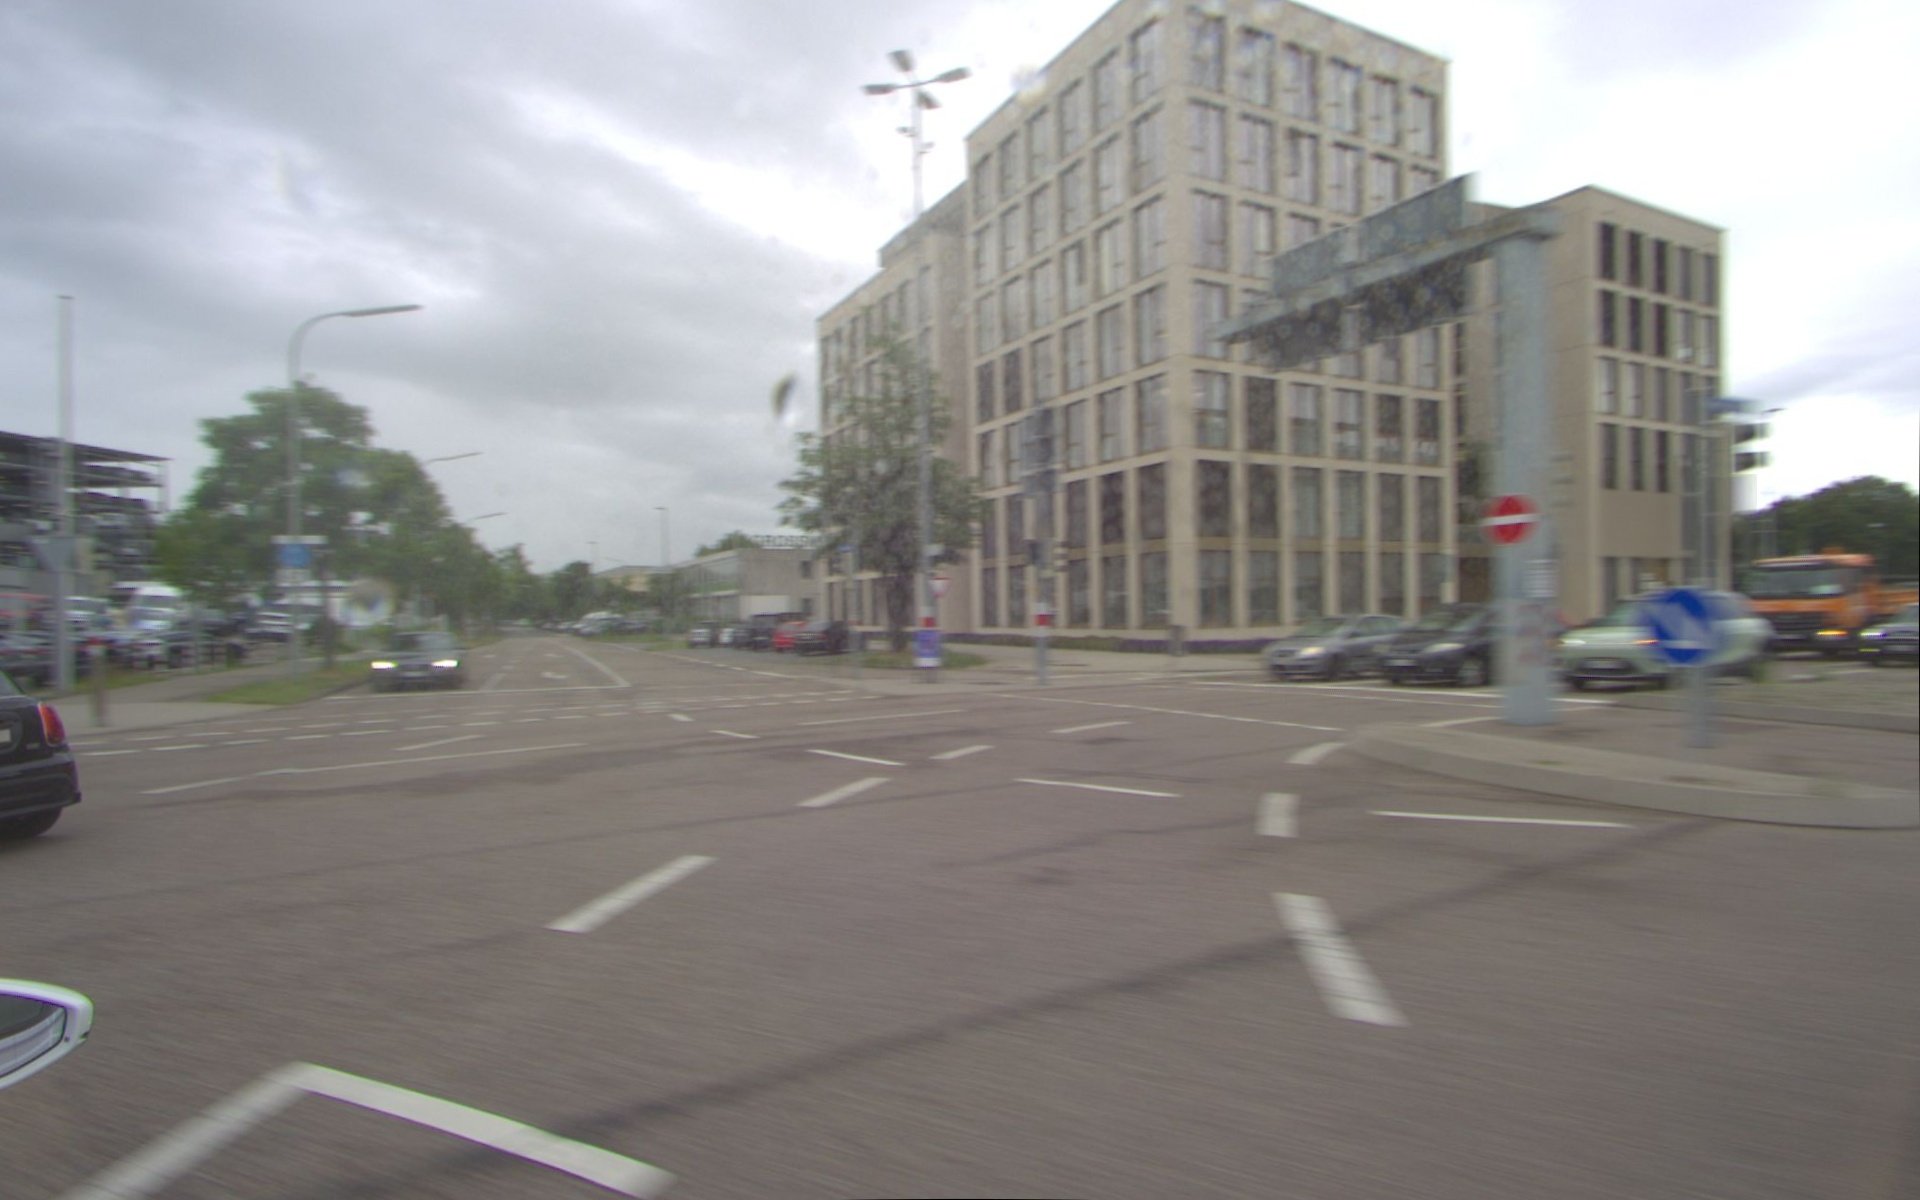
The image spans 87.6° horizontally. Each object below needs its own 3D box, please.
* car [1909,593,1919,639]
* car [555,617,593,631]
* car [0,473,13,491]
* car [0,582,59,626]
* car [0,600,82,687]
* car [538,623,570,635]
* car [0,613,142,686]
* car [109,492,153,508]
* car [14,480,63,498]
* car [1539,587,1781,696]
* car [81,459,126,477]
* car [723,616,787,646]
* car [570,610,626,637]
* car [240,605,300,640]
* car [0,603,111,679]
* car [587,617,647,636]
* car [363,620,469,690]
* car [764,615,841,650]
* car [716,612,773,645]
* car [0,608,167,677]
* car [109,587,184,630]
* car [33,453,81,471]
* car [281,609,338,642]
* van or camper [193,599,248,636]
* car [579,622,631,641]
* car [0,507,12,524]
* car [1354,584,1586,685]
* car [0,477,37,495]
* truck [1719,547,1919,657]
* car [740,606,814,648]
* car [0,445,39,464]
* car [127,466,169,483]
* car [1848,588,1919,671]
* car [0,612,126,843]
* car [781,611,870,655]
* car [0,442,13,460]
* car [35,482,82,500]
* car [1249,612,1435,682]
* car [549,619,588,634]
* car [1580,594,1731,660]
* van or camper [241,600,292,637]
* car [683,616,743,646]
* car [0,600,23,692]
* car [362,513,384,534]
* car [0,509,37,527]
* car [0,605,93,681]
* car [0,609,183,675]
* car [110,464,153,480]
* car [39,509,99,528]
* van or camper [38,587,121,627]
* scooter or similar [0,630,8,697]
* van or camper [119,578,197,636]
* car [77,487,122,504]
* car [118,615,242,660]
[{"bbox_3d":[37.699,0.597,36.933,4.283,1.678,1.998,1,-2,-16],"label":"car"},{"bbox_3d":[-54.339,3.396,140.994,4.729,1.915,2.135,1,-2,-27],"label":"car"},{"bbox_3d":[-103.847,-12.584,106.838,3.923,1.689,2.000,0,-1,7],"label":"car"},{"bbox_3d":[-42.789,0.213,45.353,1.971,1.872,3.983,1,-2,-28],"label":"car"},{"bbox_3d":[-24.704,1.154,24.044,4.964,2.040,2.256,-3,0,-29],"label":"car"},{"bbox_3d":[-71.530,5.178,176.387,5.110,2.039,2.136,1,-2,-26],"label":"car"},{"bbox_3d":[-28.640,1.557,30.934,4.836,2.040,1.991,-3,0,-30],"label":"car"},{"bbox_3d":[-102.246,-12.288,123.555,3.923,1.689,2.000,0,-1,7],"label":"car"},{"bbox_3d":[-103.332,-12.478,112.301,3.923,1.689,2.000,0,-1,7],"label":"car"},{"bbox_3d":[11.985,0.709,17.116,4.011,1.664,1.896,1,-2,-30],"label":"car"},{"bbox_3d":[-102.530,-15.796,119.900,3.923,1.689,2.000,0,-1,7],"label":"car"},{"bbox_3d":[-10.942,1.625,53.566,1.667,1.530,3.812,-1,-1,18],"label":"car"},{"bbox_3d":[-43.281,2.801,119.785,6.042,3.156,2.126,1,-2,-26],"label":"car"},{"bbox_3d":[-34.009,1.156,49.474,1.971,1.638,3.983,1,-2,-28],"label":"car"},{"bbox_3d":[-27.422,1.222,28.408,4.720,2.040,1.990,-3,0,-31],"label":"car"},{"bbox_3d":[-32.229,2.534,94.069,5.112,1.741,2.135,1,-2,-27],"label":"car"},{"bbox_3d":[-13.634,1.302,25.346,1.953,1.571,4.598,-1,-1,-24],"label":"car"},{"bbox_3d":[-7.488,1.534,47.914,1.856,1.571,4.125,-1,-1,20],"label":"car"},{"bbox_3d":[-12.448,1.675,58.037,1.564,1.821,3.425,-1,-2,24],"label":"car"},{"bbox_3d":[-29.772,1.421,33.399,4.836,2.040,1.991,-3,0,-30],"label":"car"},{"bbox_3d":[-38.333,0.448,47.287,1.971,1.846,3.983,1,-2,-28],"label":"car"},{"bbox_3d":[-103.520,-15.843,114.777,3.923,1.689,2.000,0,-1,7],"label":"car"},{"bbox_3d":[-33.055,1.333,50.990,1.969,1.638,3.985,1,-2,-26],"label":"car"},{"bbox_3d":[-42.517,1.072,57.669,1.971,2.039,3.983,1,-2,-28],"label":"van or camper"},{"bbox_3d":[-36.085,3.252,101.860,4.729,1.915,2.135,1,-2,-27],"label":"car"},{"bbox_3d":[-104.254,-9.061,107.139,3.923,1.689,2.000,0,-1,7],"label":"car"},{"bbox_3d":[10.078,0.698,19.748,4.357,1.791,1.991,1,-2,-29],"label":"car"},{"bbox_3d":[-103.717,-12.427,109.478,3.923,1.689,2.000,0,-1,7],"label":"car"},{"bbox_3d":[23.907,0.172,27.107,6.574,2.672,2.810,1,-2,-27],"label":"truck"},{"bbox_3d":[-9.187,1.348,50.644,1.964,1.990,4.240,-1,-2,17],"label":"car"},{"bbox_3d":[-103.648,-15.920,109.665,3.923,1.689,2.000,0,-1,7],"label":"car"},{"bbox_3d":[-102.155,-15.773,125.962,3.923,1.689,2.000,0,-1,7],"label":"car"},{"bbox_3d":[22.559,0.696,22.920,4.357,1.791,1.991,1,-2,-29],"label":"car"},{"bbox_3d":[-7.769,0.918,6.359,3.573,1.432,1.793,-4,-4,5],"label":"car"},{"bbox_3d":[-5.828,1.430,43.865,1.859,1.791,4.120,-2,-1,26],"label":"car"},{"bbox_3d":[-103.933,-15.943,107.007,3.923,1.689,2.000,0,-1,7],"label":"car"},{"bbox_3d":[-103.113,-12.471,114.556,3.923,1.689,2.000,0,-1,7],"label":"car"},{"bbox_3d":[8.680,1.056,22.703,4.038,1.450,1.743,1,-2,-29],"label":"car"},{"bbox_3d":[-57.418,3.921,146.820,5.110,2.039,2.136,1,-2,-26],"label":"car"},{"bbox_3d":[20.125,0.812,28.963,4.089,1.791,1.991,1,-2,-29],"label":"car"},{"bbox_3d":[-40.623,1.120,58.755,1.971,2.039,3.983,1,-2,-28],"label":"van or camper"},{"bbox_3d":[-14.480,1.838,58.857,1.737,1.754,3.425,-1,-2,24],"label":"car"},{"bbox_3d":[-23.444,1.111,21.325,4.646,2.040,1.991,-3,0,-29],"label":"car"},{"bbox_3d":[-68.300,-8.864,116.539,1.970,1.907,3.982,-1,-1,-29],"label":"car"},{"bbox_3d":[-103.582,-8.971,109.372,3.923,1.689,2.000,0,-1,7],"label":"car"},{"bbox_3d":[-26.075,1.219,26.094,4.891,1.900,2.044,-3,-1,-31],"label":"car"},{"bbox_3d":[-31.127,1.479,35.880,4.836,2.040,1.991,-3,0,-30],"label":"car"},{"bbox_3d":[-102.355,-15.813,123.736,3.923,1.689,2.000,0,-1,7],"label":"car"},{"bbox_3d":[-104.278,-9.511,117.280,5.227,1.970,2.211,0,-1,4],"label":"car"},{"bbox_3d":[-40.492,0.369,46.151,1.971,1.672,3.983,1,-2,-28],"label":"van or camper"},{"bbox_3d":[-18.090,1.172,18.047,0.548,1.234,1.559,2,-1,-11],"label":"scooter or similar"},{"bbox_3d":[-45.271,0.472,56.663,2.506,3.065,4.823,1,-2,-28],"label":"van or camper"},{"bbox_3d":[-102.809,-12.492,119.616,3.923,1.689,2.000,0,-1,7],"label":"car"},{"bbox_3d":[-33.800,1.638,43.519,3.940,1.861,1.753,1,-2,-27],"label":"car"}]
